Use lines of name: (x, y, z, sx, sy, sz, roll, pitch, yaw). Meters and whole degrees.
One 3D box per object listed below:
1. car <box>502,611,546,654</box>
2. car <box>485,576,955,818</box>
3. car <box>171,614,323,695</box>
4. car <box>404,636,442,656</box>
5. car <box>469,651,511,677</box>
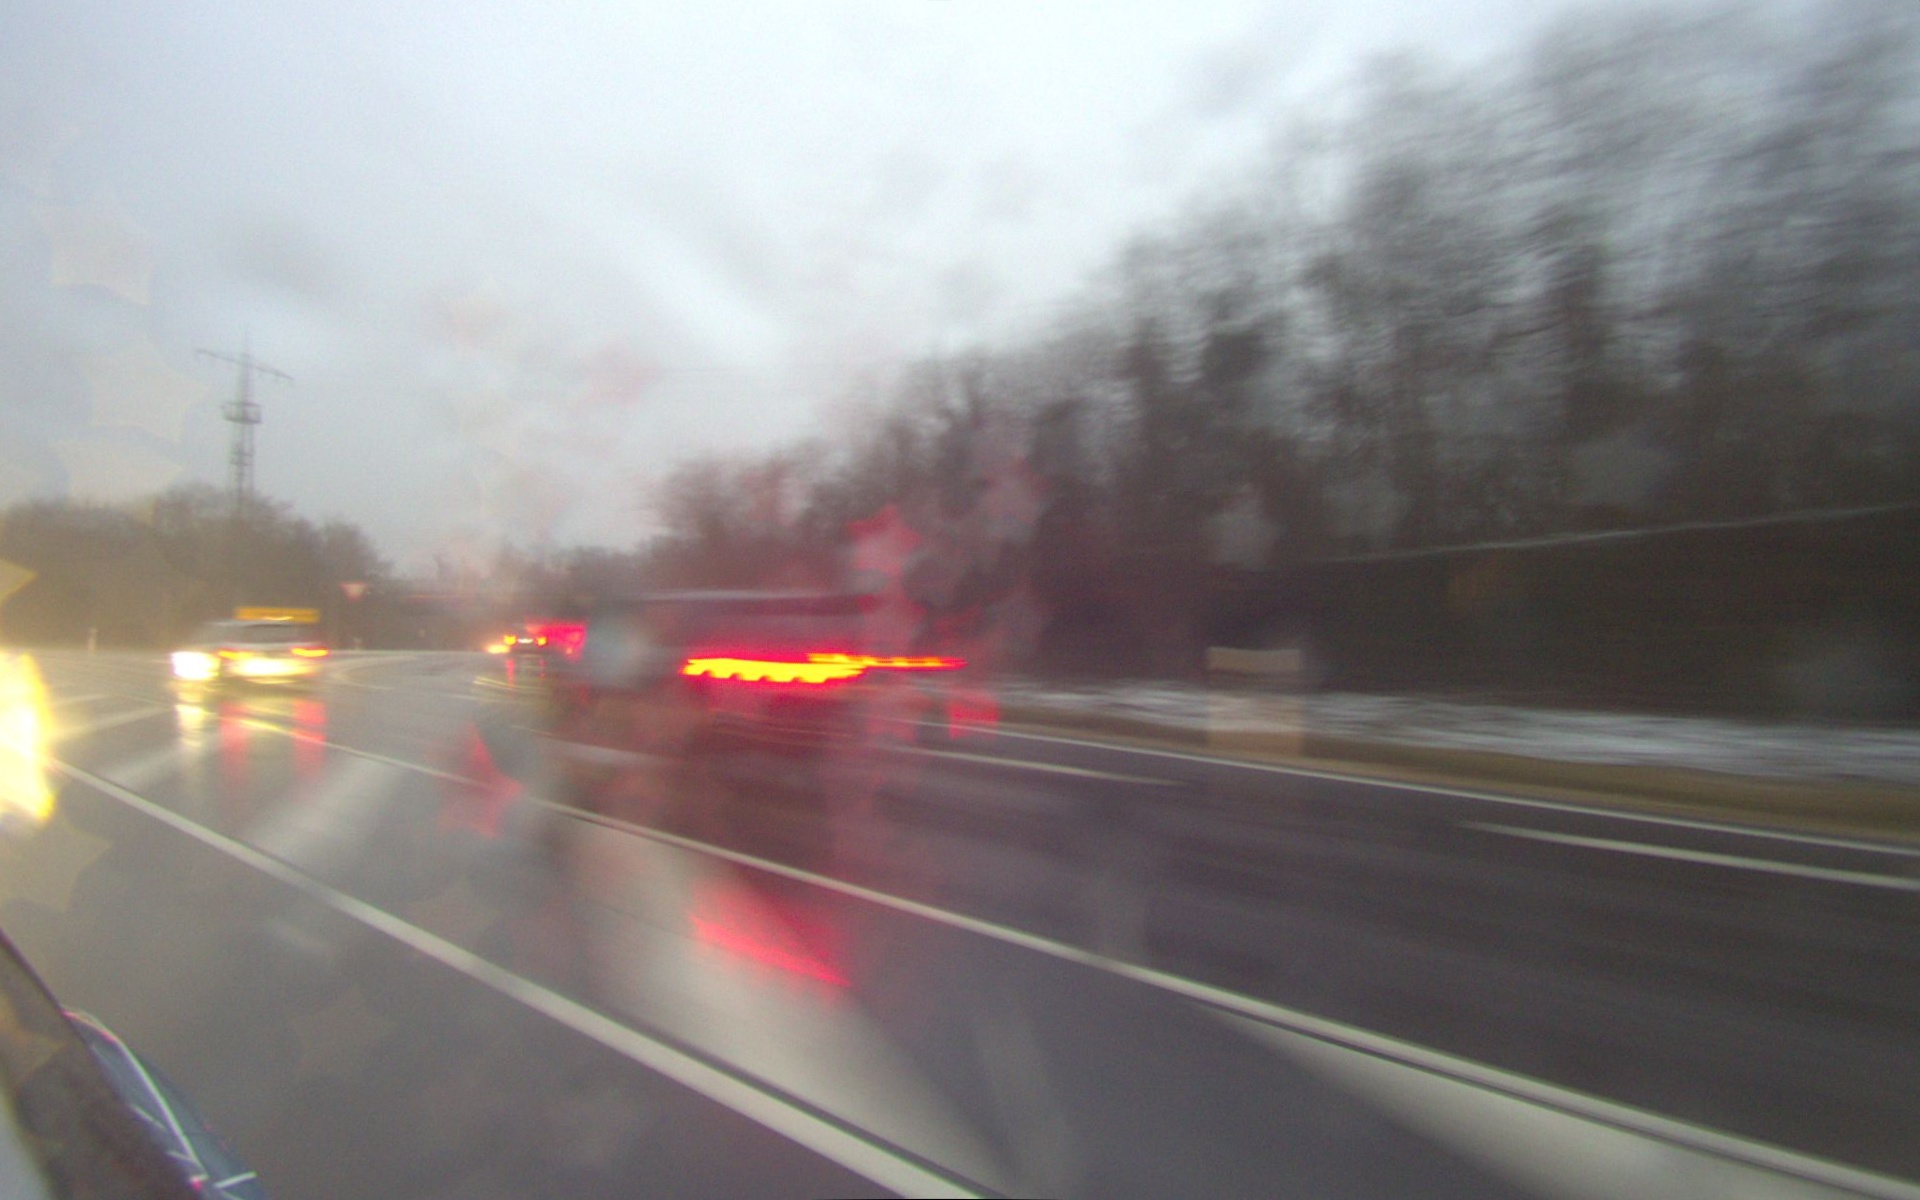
car: (-21.729, 1.588, 50.580, 1.812, 1.984, 4.372, -1, 0, -21)
car: (-2.409, 0.711, 9.255, 4.727, 1.661, 1.882, -2, -1, 43)
car: (-15.116, 1.126, 21.359, 4.299, 1.535, 1.803, -3, -3, 44)
car: (-54.398, 4.670, 102.441, 4.810, 1.769, 1.930, 0, 1, 43)
car: (-39.040, 5.311, 84.005, 1.927, 1.769, 4.818, -2, 1, -41)
